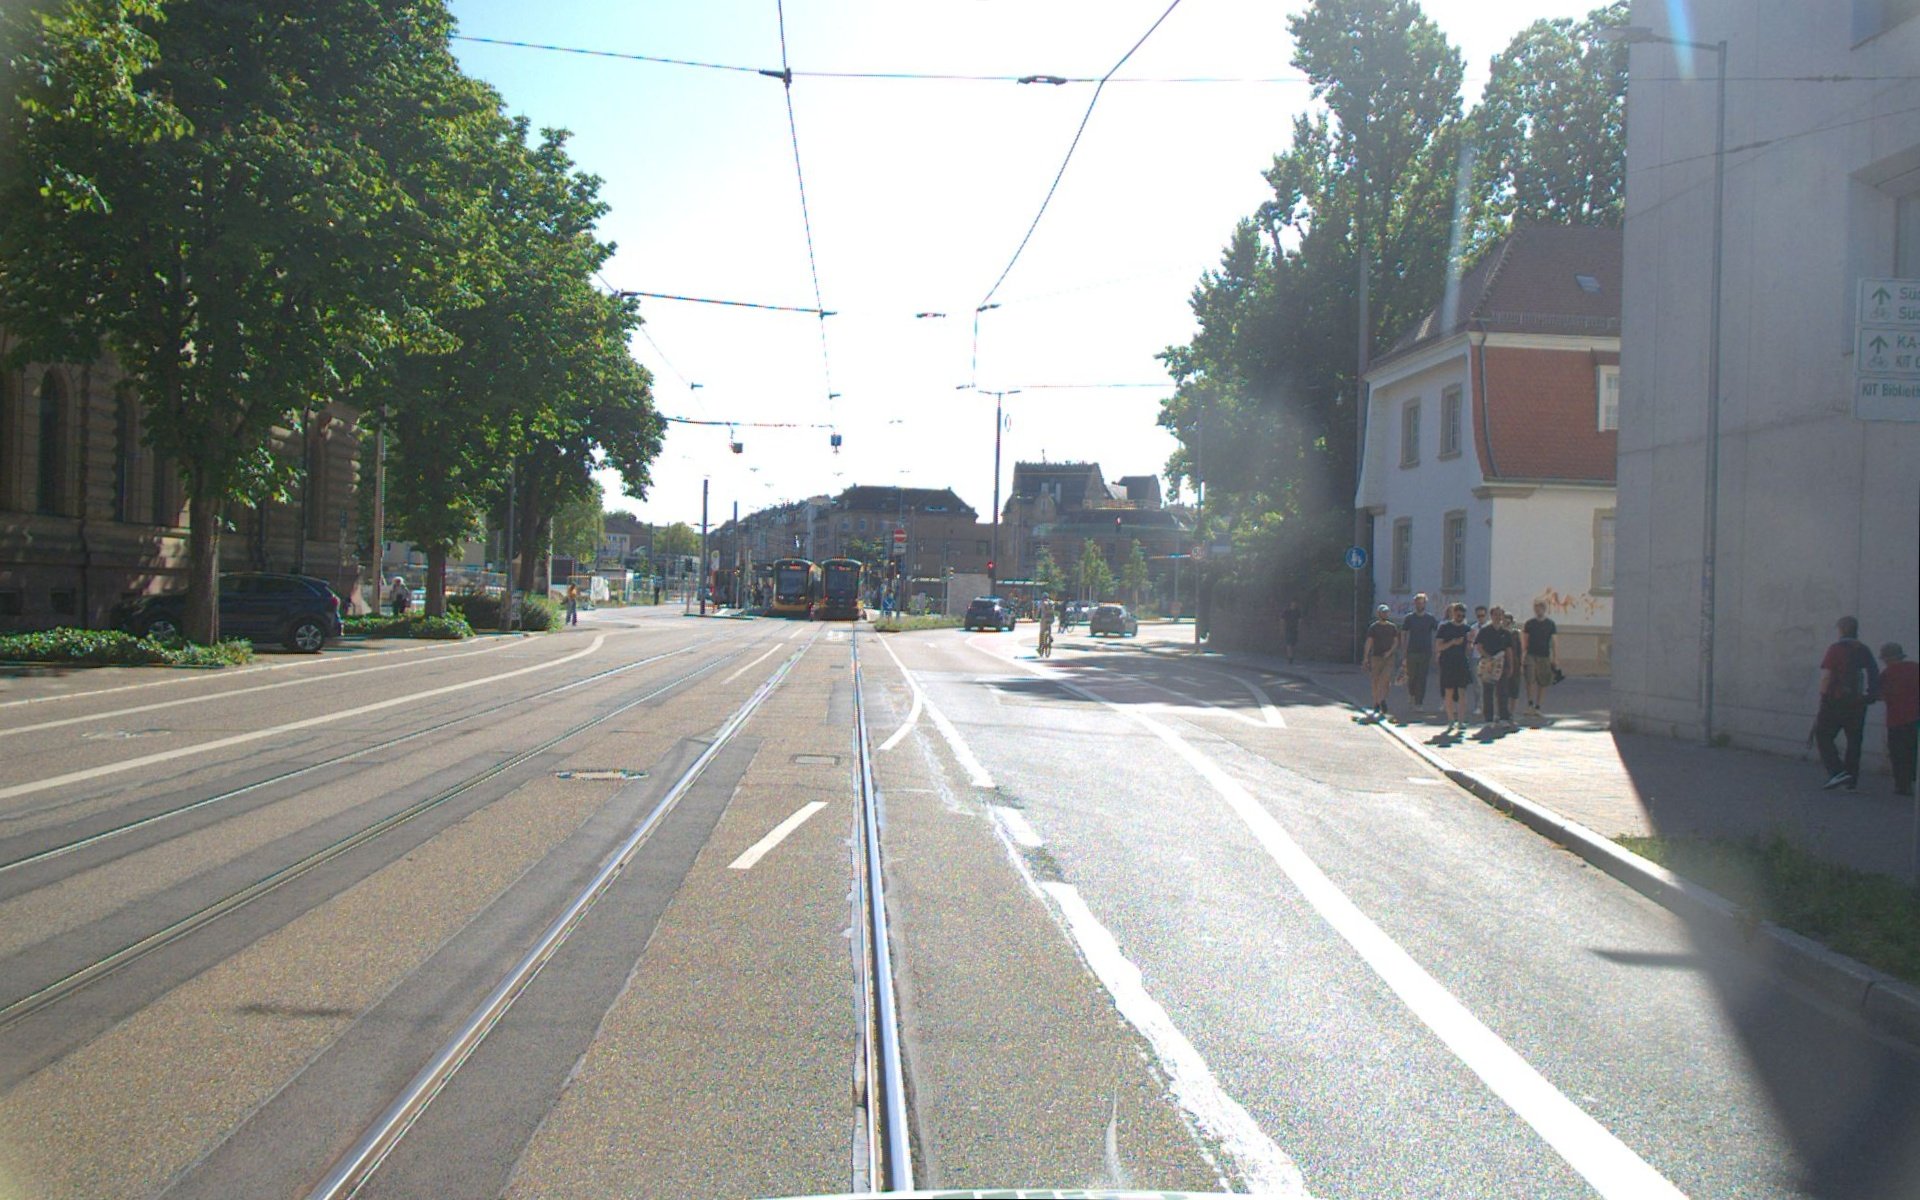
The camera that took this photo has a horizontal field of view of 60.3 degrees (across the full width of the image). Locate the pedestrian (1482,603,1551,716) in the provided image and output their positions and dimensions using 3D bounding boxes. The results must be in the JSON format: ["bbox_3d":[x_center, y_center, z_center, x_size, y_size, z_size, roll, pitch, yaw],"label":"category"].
[{"bbox_3d":[8.466,0.895,25.203,0.811,1.632,0.894,-3,0,11],"label":"pedestrian"}]

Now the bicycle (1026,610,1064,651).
[{"bbox_3d":[2.471,0.875,48.117,0.690,1.124,1.718,3,1,16],"label":"bicycle"}]

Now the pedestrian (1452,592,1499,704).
[{"bbox_3d":[8.518,0.787,27.351,0.597,1.805,0.653,-3,0,12],"label":"pedestrian"}]

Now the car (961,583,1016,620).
[{"bbox_3d":[1.411,0.077,79.624,1.751,1.632,3.715,3,1,15],"label":"car"}]

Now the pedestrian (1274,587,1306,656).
[{"bbox_3d":[9.496,0.614,47.576,0.625,1.937,1.134,-1,0,-3],"label":"pedestrian"}]

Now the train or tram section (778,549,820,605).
[{"bbox_3d":[-11.505,-1.664,118.808,2.688,3.715,12.533,1,1,-5],"label":"train or tram section"}]

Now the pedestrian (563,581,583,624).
[{"bbox_3d":[-15.534,0.094,66.387,0.628,1.726,0.813,0,0,-25],"label":"pedestrian"}]

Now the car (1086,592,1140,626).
[{"bbox_3d":[7.528,0.450,81.204,1.752,1.537,3.714,3,1,19],"label":"car"}]

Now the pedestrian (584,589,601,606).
[{"bbox_3d":[-22.782,-0.159,102.580,0.880,1.064,0.655,1,0,-3],"label":"pedestrian"}]

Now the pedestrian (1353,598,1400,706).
[{"bbox_3d":[7.074,0.870,28.089,0.593,1.777,0.718,-2,0,4],"label":"pedestrian"}]

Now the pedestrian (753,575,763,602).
[{"bbox_3d":[-14.250,-0.795,116.757,0.614,1.859,0.661,1,0,-5],"label":"pedestrian"}]

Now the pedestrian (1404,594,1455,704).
[{"bbox_3d":[7.893,0.820,27.778,0.519,1.805,0.733,-3,0,37],"label":"pedestrian"}]

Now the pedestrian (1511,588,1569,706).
[{"bbox_3d":[9.289,0.742,26.508,0.643,1.833,0.732,-2,0,4],"label":"pedestrian"}]

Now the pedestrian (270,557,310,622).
[{"bbox_3d":[-17.920,-0.278,44.226,0.687,1.663,0.759,4,0,-4],"label":"pedestrian"}]

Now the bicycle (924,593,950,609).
[{"bbox_3d":[-1.702,0.052,122.552,1.896,1.122,0.598,1,1,-6],"label":"bicycle"}]

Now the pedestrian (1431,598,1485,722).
[{"bbox_3d":[7.281,0.860,24.201,0.484,1.758,0.816,-3,0,2],"label":"pedestrian"}]

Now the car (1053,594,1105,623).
[{"bbox_3d":[7.404,0.552,102.430,1.670,1.672,3.704,3,1,31],"label":"car"}]

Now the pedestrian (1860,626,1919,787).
[{"bbox_3d":[8.789,0.969,15.283,0.507,1.429,0.764,1,0,-1],"label":"pedestrian"}]

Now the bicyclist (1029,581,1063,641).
[{"bbox_3d":[2.498,0.315,48.112,0.690,1.704,1.102,3,1,16],"label":"bicyclist"}]

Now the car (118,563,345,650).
[{"bbox_3d":[-14.617,0.132,33.214,3.947,1.577,1.858,2,0,-32],"label":"car"}]

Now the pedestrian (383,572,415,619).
[{"bbox_3d":[-18.581,-0.148,54.772,0.909,1.530,0.700,1,0,-26],"label":"pedestrian"}]

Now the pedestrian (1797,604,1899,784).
[{"bbox_3d":[8.263,0.855,15.407,0.507,1.628,0.764,1,0,-1],"label":"pedestrian"}]

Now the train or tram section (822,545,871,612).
[{"bbox_3d":[-6.964,-1.299,100.545,2.688,3.715,13.773,1,1,-5],"label":"train or tram section"}]

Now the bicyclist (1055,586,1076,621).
[{"bbox_3d":[5.284,0.174,82.637,0.690,1.730,0.987,4,1,21],"label":"bicyclist"}]

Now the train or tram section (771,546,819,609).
[{"bbox_3d":[-10.463,-1.465,105.697,2.688,3.715,13.773,1,1,-5],"label":"train or tram section"}]

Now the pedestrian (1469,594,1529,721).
[{"bbox_3d":[7.912,0.831,24.294,0.633,1.793,0.957,-3,0,11],"label":"pedestrian"}]

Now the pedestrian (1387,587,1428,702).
[{"bbox_3d":[7.661,0.755,28.303,0.507,1.935,0.612,-2,0,4],"label":"pedestrian"}]

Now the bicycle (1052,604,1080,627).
[{"bbox_3d":[5.310,0.780,82.817,0.690,1.073,2.314,4,1,20],"label":"bicycle"}]
